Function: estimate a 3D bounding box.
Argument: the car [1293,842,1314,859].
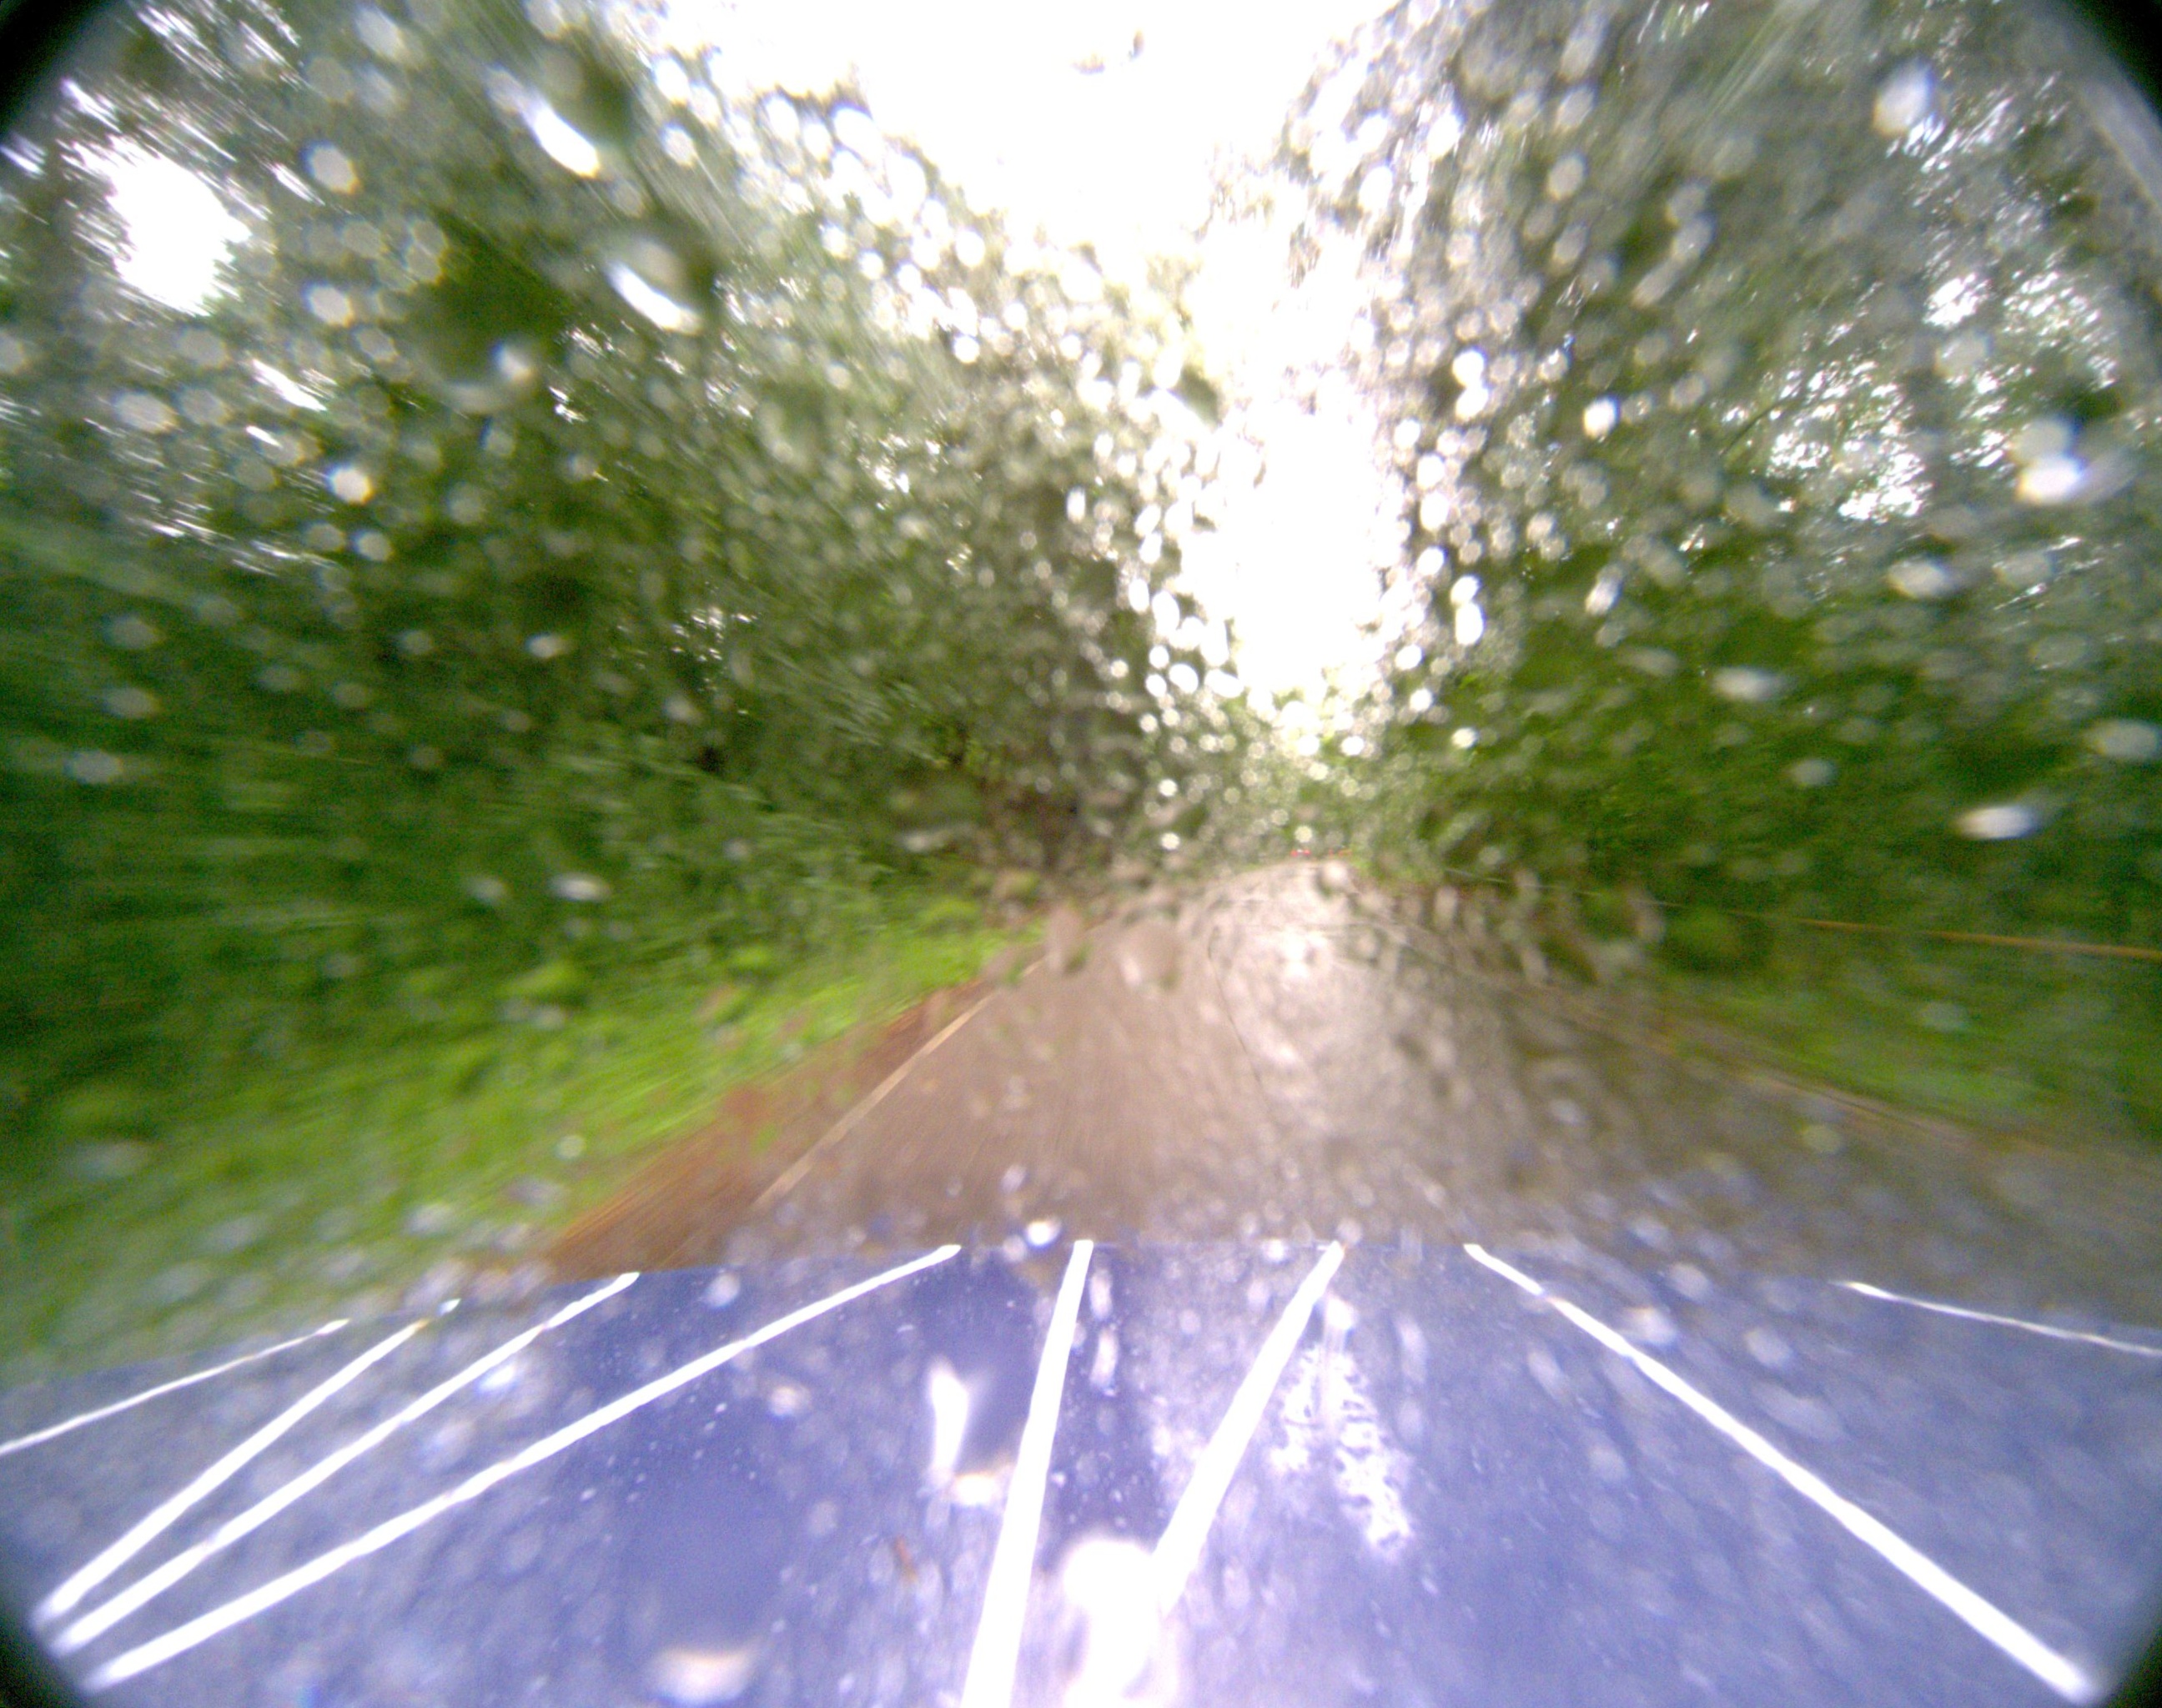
[{"bbox_3d":[25.138,-0.429,85.745,1.996,1.740,4.005,-2,1,20],"label":"car"}]
